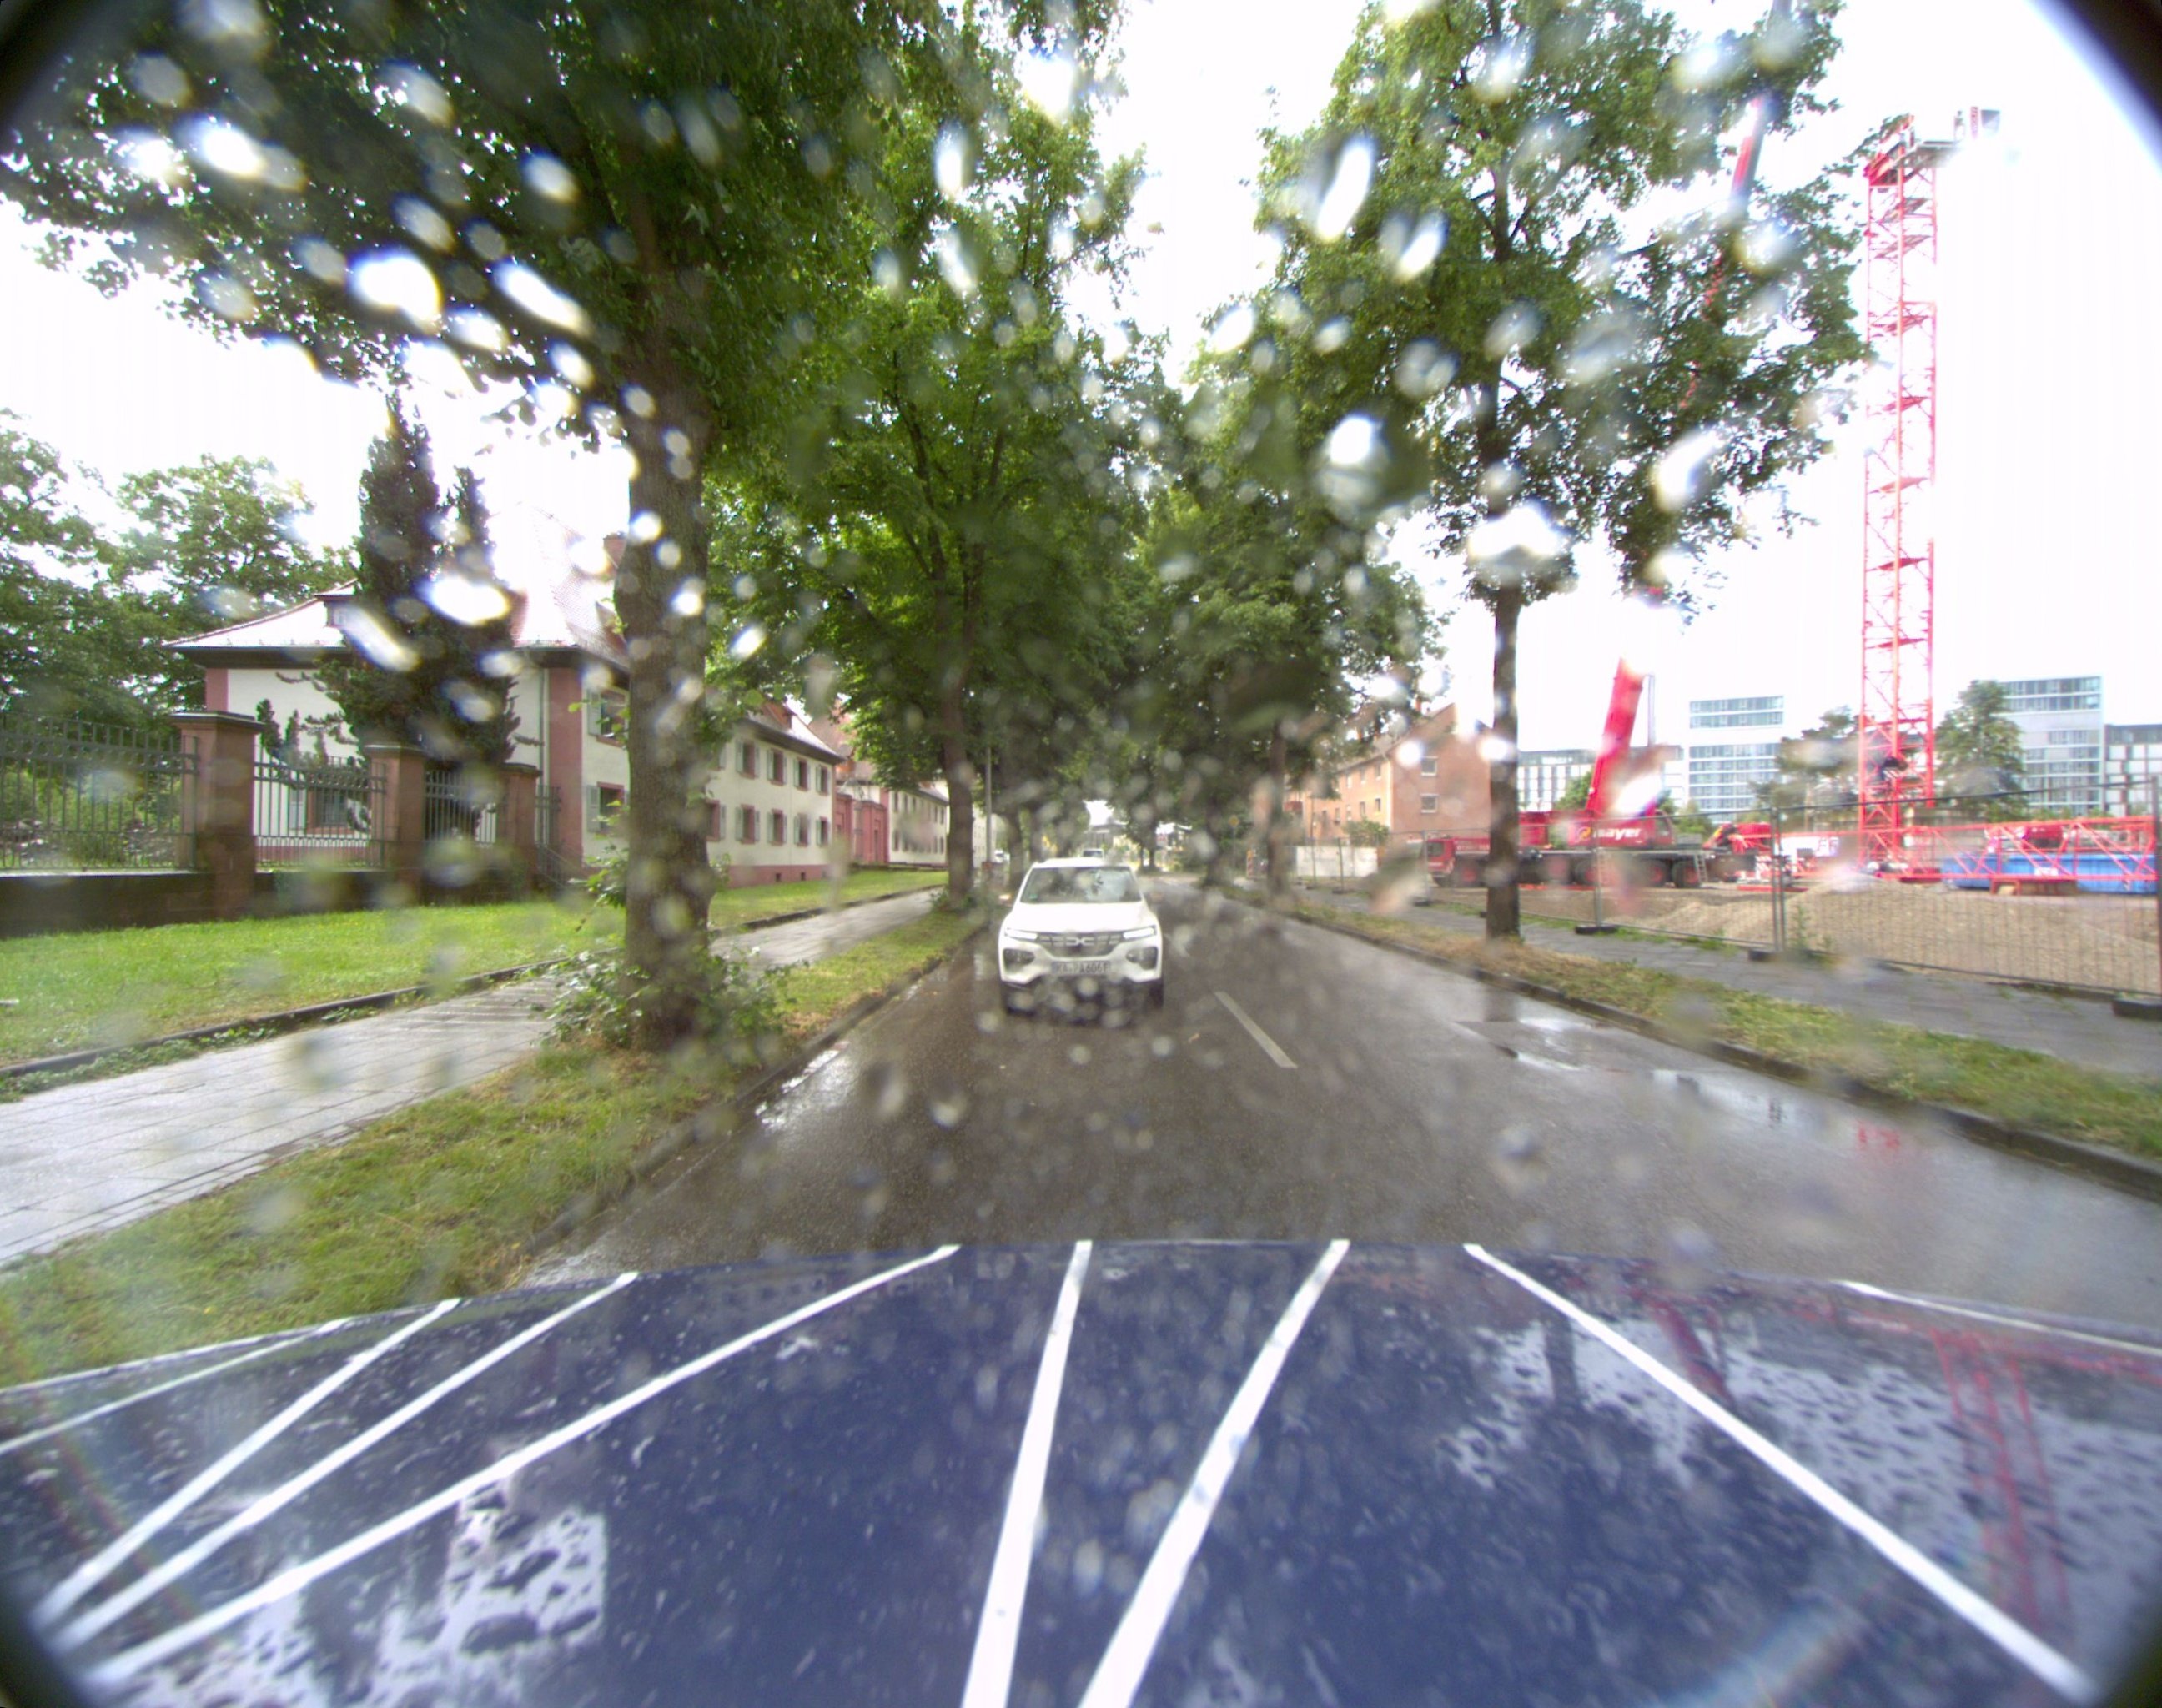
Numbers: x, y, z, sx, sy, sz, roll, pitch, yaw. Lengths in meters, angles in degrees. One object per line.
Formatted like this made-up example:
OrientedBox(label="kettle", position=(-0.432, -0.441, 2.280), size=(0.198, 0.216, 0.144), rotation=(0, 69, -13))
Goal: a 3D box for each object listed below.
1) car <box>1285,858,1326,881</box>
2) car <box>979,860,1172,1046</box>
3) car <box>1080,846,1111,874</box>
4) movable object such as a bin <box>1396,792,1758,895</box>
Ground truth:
OrientedBox(label="car", position=(16.444, 1.129, 55.812), size=(1.693, 1.521, 3.999), rotation=(-2, 1, -1))
OrientedBox(label="car", position=(-0.008, 0.864, 8.480), size=(1.608, 1.499, 4.000), rotation=(-1, 0, 1))
OrientedBox(label="car", position=(1.096, 0.392, 59.031), size=(2.107, 1.990, 5.433), rotation=(-2, 1, -1))
OrientedBox(label="movable object such as a bin", position=(24.882, -0.488, 38.861), size=(15.941, 4.532, 3.102), rotation=(-2, 1, 4))
